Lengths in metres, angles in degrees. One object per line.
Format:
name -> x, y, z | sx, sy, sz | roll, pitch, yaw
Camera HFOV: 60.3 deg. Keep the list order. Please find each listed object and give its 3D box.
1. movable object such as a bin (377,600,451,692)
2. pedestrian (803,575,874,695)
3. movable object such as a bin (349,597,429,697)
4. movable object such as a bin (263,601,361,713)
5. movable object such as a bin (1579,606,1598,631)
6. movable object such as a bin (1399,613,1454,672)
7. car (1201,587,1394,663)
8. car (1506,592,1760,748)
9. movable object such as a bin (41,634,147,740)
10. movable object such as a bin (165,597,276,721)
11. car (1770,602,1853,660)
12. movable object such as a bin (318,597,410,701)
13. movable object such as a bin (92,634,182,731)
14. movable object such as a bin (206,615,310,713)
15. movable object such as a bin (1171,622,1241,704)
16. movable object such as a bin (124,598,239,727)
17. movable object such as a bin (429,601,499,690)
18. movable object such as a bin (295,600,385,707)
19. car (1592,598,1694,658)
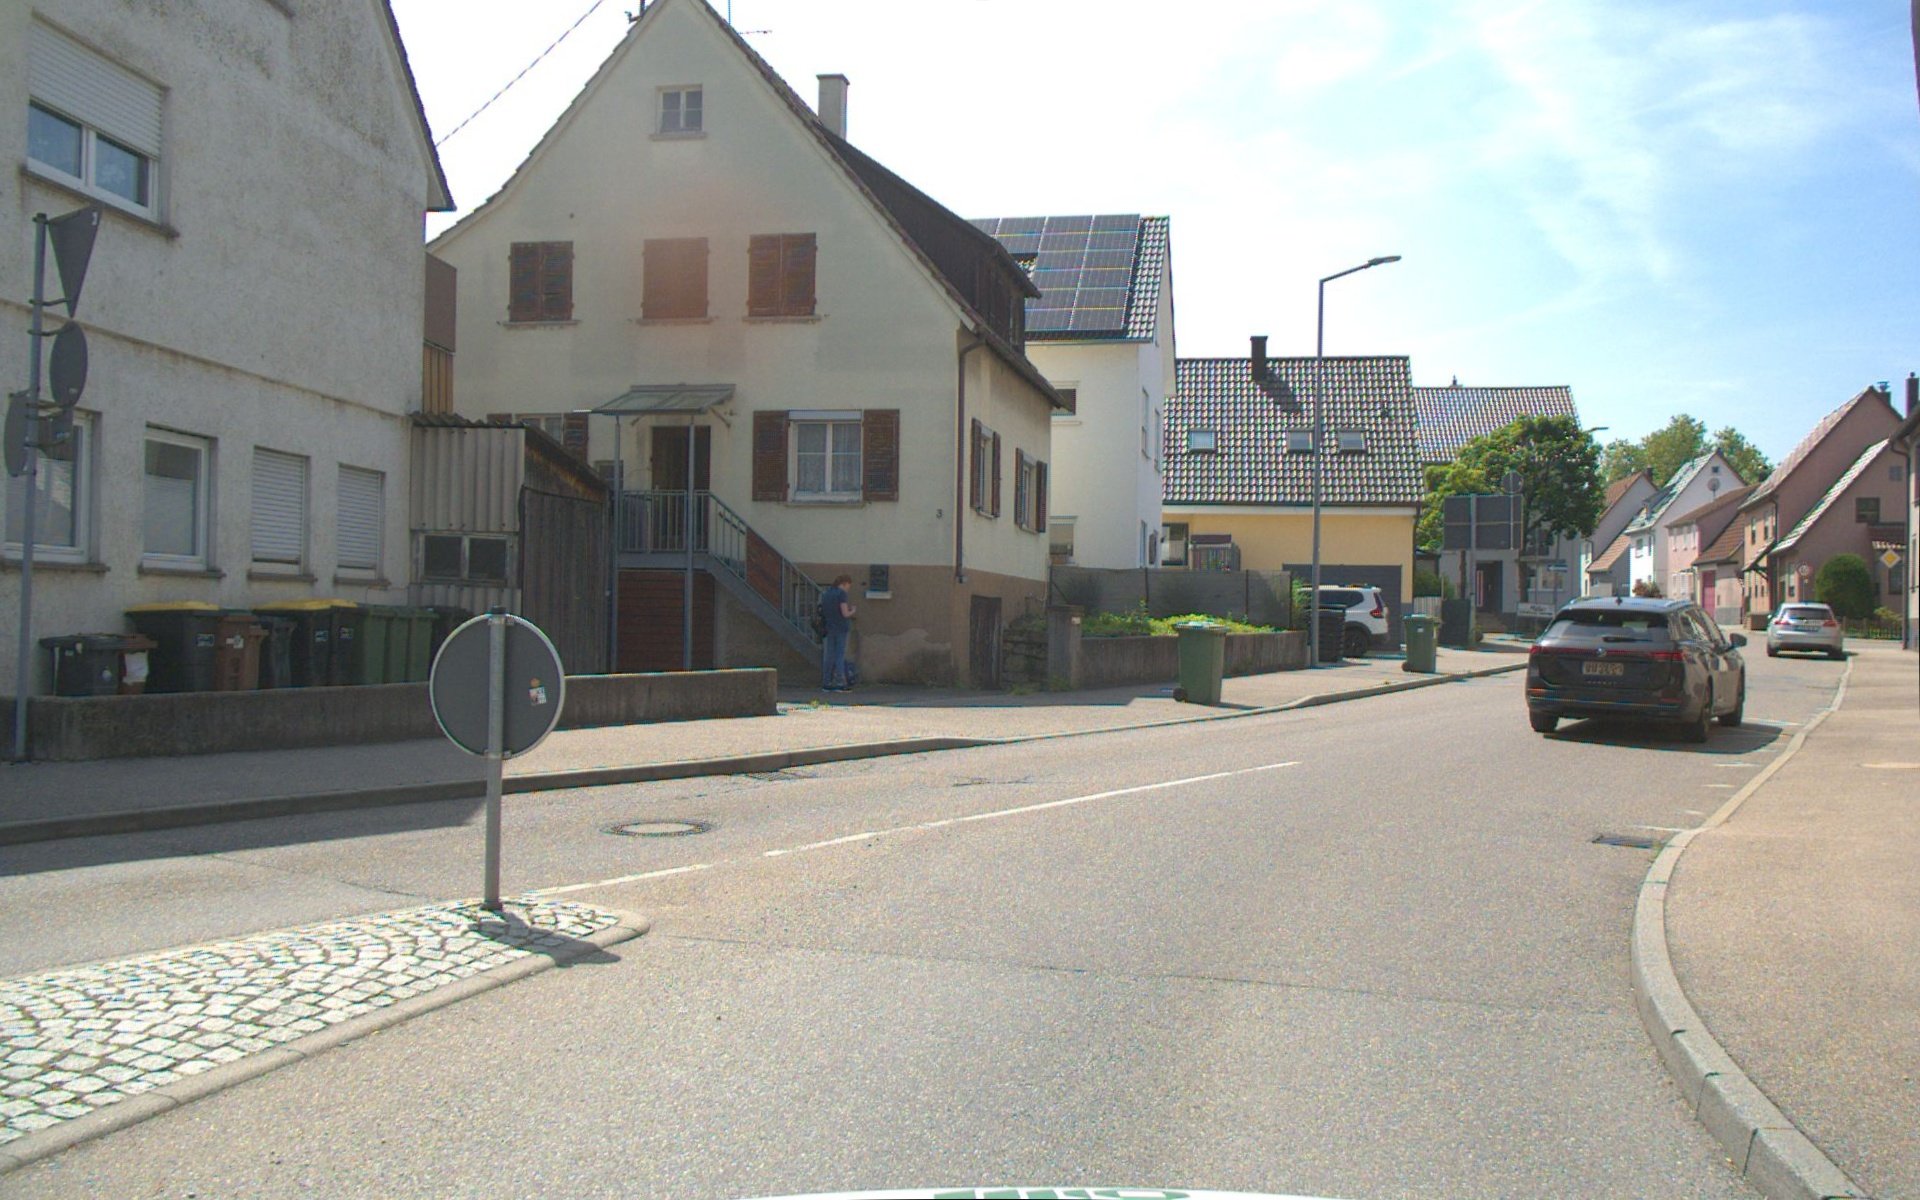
movable object such as a bin -> -6.444, 0.537, 19.541 | 0.614, 1.053, 0.604 | 2, 0, 3
pedestrian -> -1.672, 0.469, 22.820 | 0.761, 1.601, 0.628 | 1, 0, 21
movable object such as a bin -> -6.532, 0.527, 18.932 | 0.664, 1.101, 0.584 | 2, 0, 3
movable object such as a bin -> -6.618, 0.568, 16.912 | 0.668, 1.101, 0.698 | 2, 0, 3
movable object such as a bin -> 27.972, 0.832, 73.578 | 0.738, 1.079, 0.680 | 1, 0, 17
movable object such as a bin -> 8.992, 0.807, 31.867 | 0.810, 1.096, 0.816 | 2, 1, 30
car -> 8.063, 0.585, 39.436 | 4.309, 1.651, 2.001 | 1, -1, 17
car -> 7.551, 0.687, 18.280 | 1.808, 1.445, 4.670 | 2, 0, 32
movable object such as a bin -> -7.100, 0.700, 13.583 | 0.475, 0.819, 0.647 | 2, 0, 5
movable object such as a bin -> -6.897, 0.537, 15.453 | 0.668, 1.105, 0.698 | 2, 0, 3
car -> 23.477, 0.818, 45.727 | 1.750, 1.467, 4.335 | 2, 1, 24
movable object such as a bin -> -6.575, 0.532, 18.259 | 0.723, 1.101, 0.660 | 2, 0, 3
movable object such as a bin -> -7.049, 0.700, 14.177 | 0.475, 0.794, 0.527 | 2, 0, 3
movable object such as a bin -> -6.864, 0.614, 16.197 | 0.668, 0.912, 0.698 | 2, 0, 3
movable object such as a bin -> 3.353, 0.848, 22.554 | 0.776, 1.076, 0.650 | 1, 0, 26
movable object such as a bin -> -6.940, 0.542, 14.768 | 0.668, 1.105, 0.645 | 2, 0, 3
movable object such as a bin -> -6.029, 0.546, 20.117 | 0.615, 1.052, 0.613 | 2, 0, 3
movable object such as a bin -> -6.584, 0.559, 17.592 | 0.668, 1.101, 0.626 | 2, 0, 3
car -> 18.251, 0.751, 44.095 | 1.919, 1.512, 4.450 | -1, -1, 30
